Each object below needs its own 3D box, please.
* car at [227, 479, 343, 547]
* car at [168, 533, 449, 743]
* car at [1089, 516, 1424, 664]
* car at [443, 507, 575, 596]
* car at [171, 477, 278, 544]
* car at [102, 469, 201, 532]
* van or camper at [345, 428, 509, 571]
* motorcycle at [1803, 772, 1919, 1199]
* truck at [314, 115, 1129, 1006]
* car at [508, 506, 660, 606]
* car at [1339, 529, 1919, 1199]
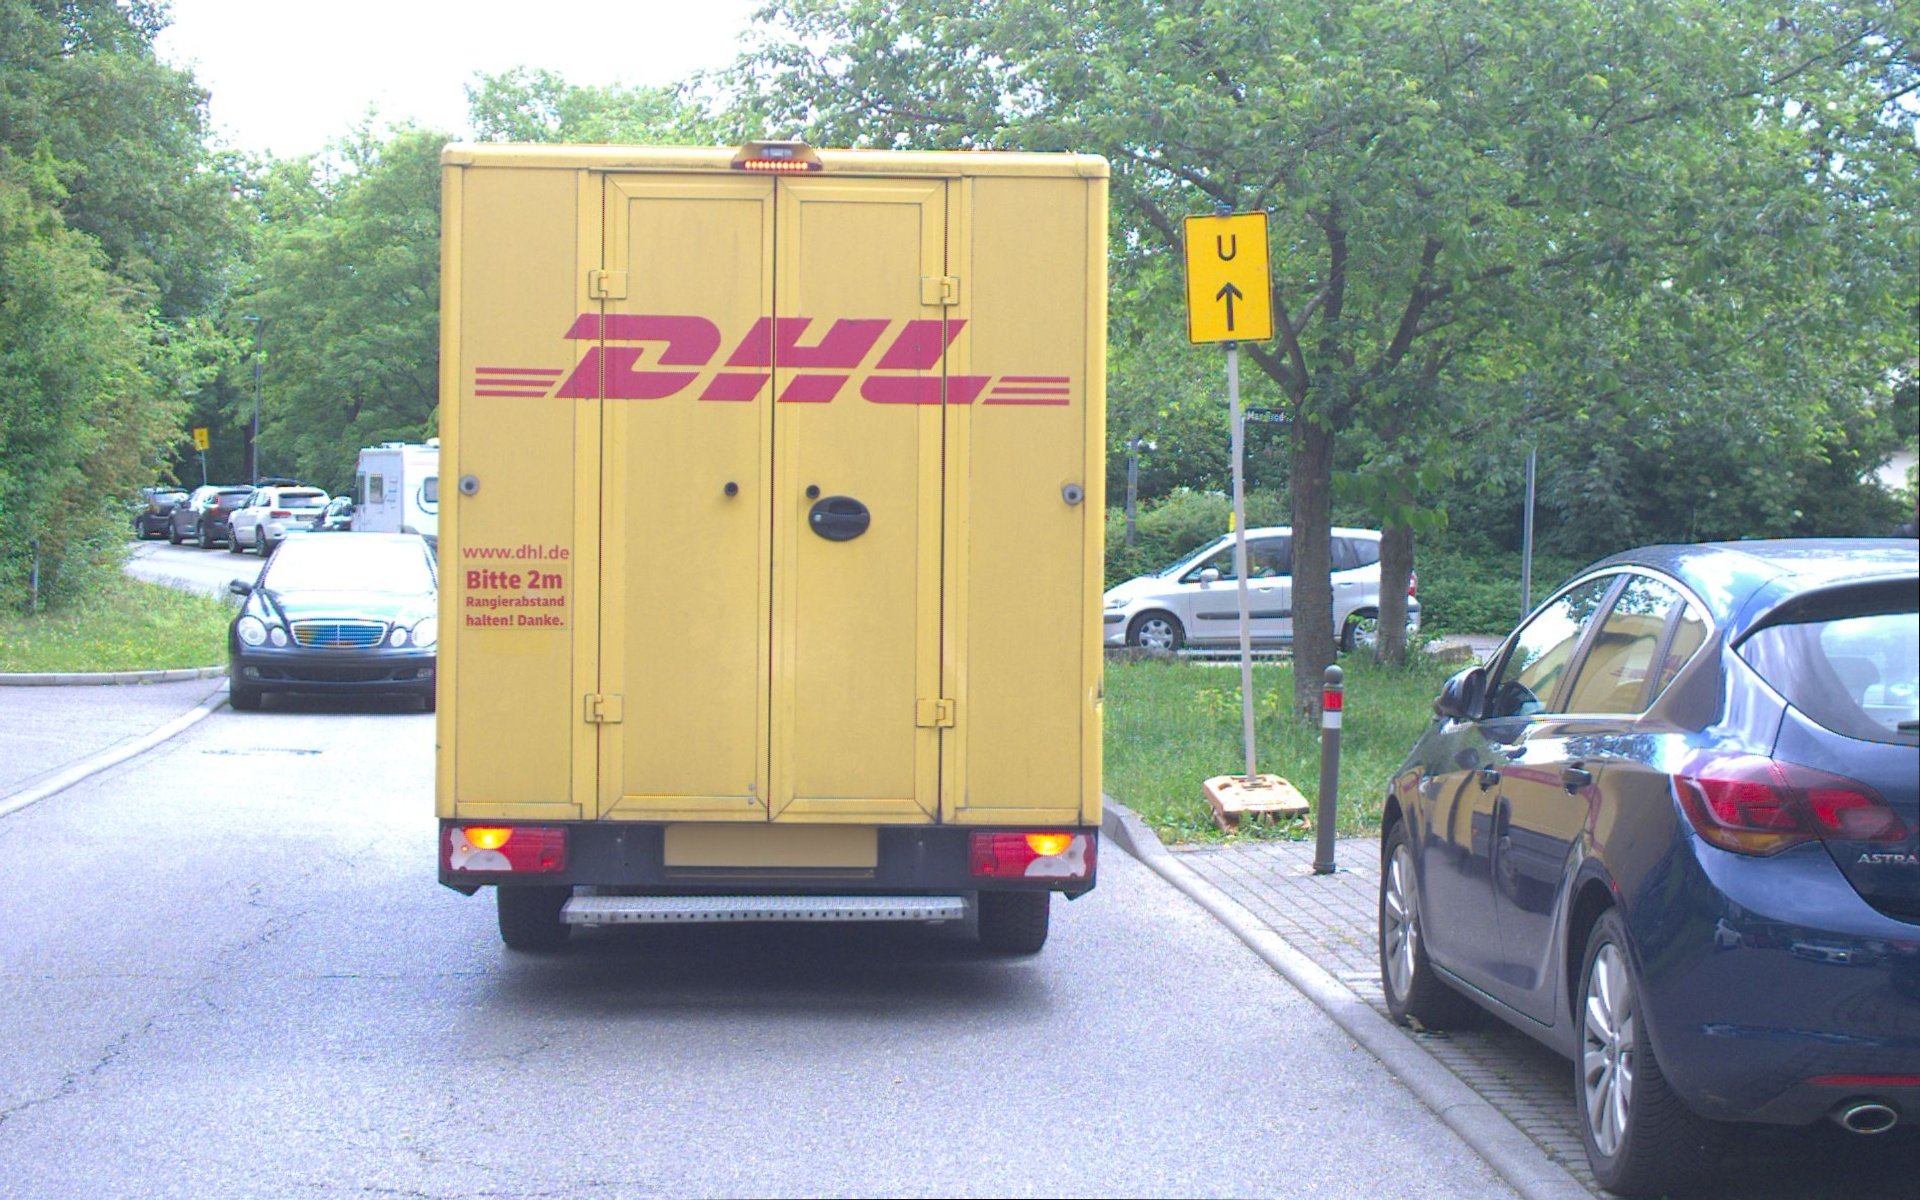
[{"bbox_3d":[-17.026,-2.203,86.605,1.843,1.524,4.001,1,3,-26],"label":"car"},{"bbox_3d":[-4.764,0.227,25.574,1.674,1.350,3.970,2,1,-6],"label":"car"},{"bbox_3d":[3.372,-0.129,39.584,3.630,1.481,1.691,2,2,-1],"label":"car"},{"bbox_3d":[-8.878,-0.967,67.462,1.843,1.524,4.002,2,3,-18],"label":"car"},{"bbox_3d":[-19.725,-2.418,92.137,1.843,1.608,4.001,1,3,-26],"label":"car"},{"bbox_3d":[-22.971,-2.842,97.624,1.843,1.608,4.001,1,3,-26],"label":"car"},{"bbox_3d":[-11.554,-2.213,74.186,2.323,2.862,5.262,1,3,-21],"label":"van or camper"},{"bbox_3d":[2.064,0.842,4.709,0.898,1.108,2.085,2,-1,-14],"label":"motorcycle"},{"bbox_3d":[-0.930,-0.199,13.867,2.466,2.693,6.826,0,1,-4],"label":"truck"},{"bbox_3d":[-6.635,-0.799,60.317,1.843,1.524,4.002,2,3,-18],"label":"car"},{"bbox_3d":[2.188,0.588,8.898,1.728,1.428,3.969,2,0,-3],"label":"car"}]
